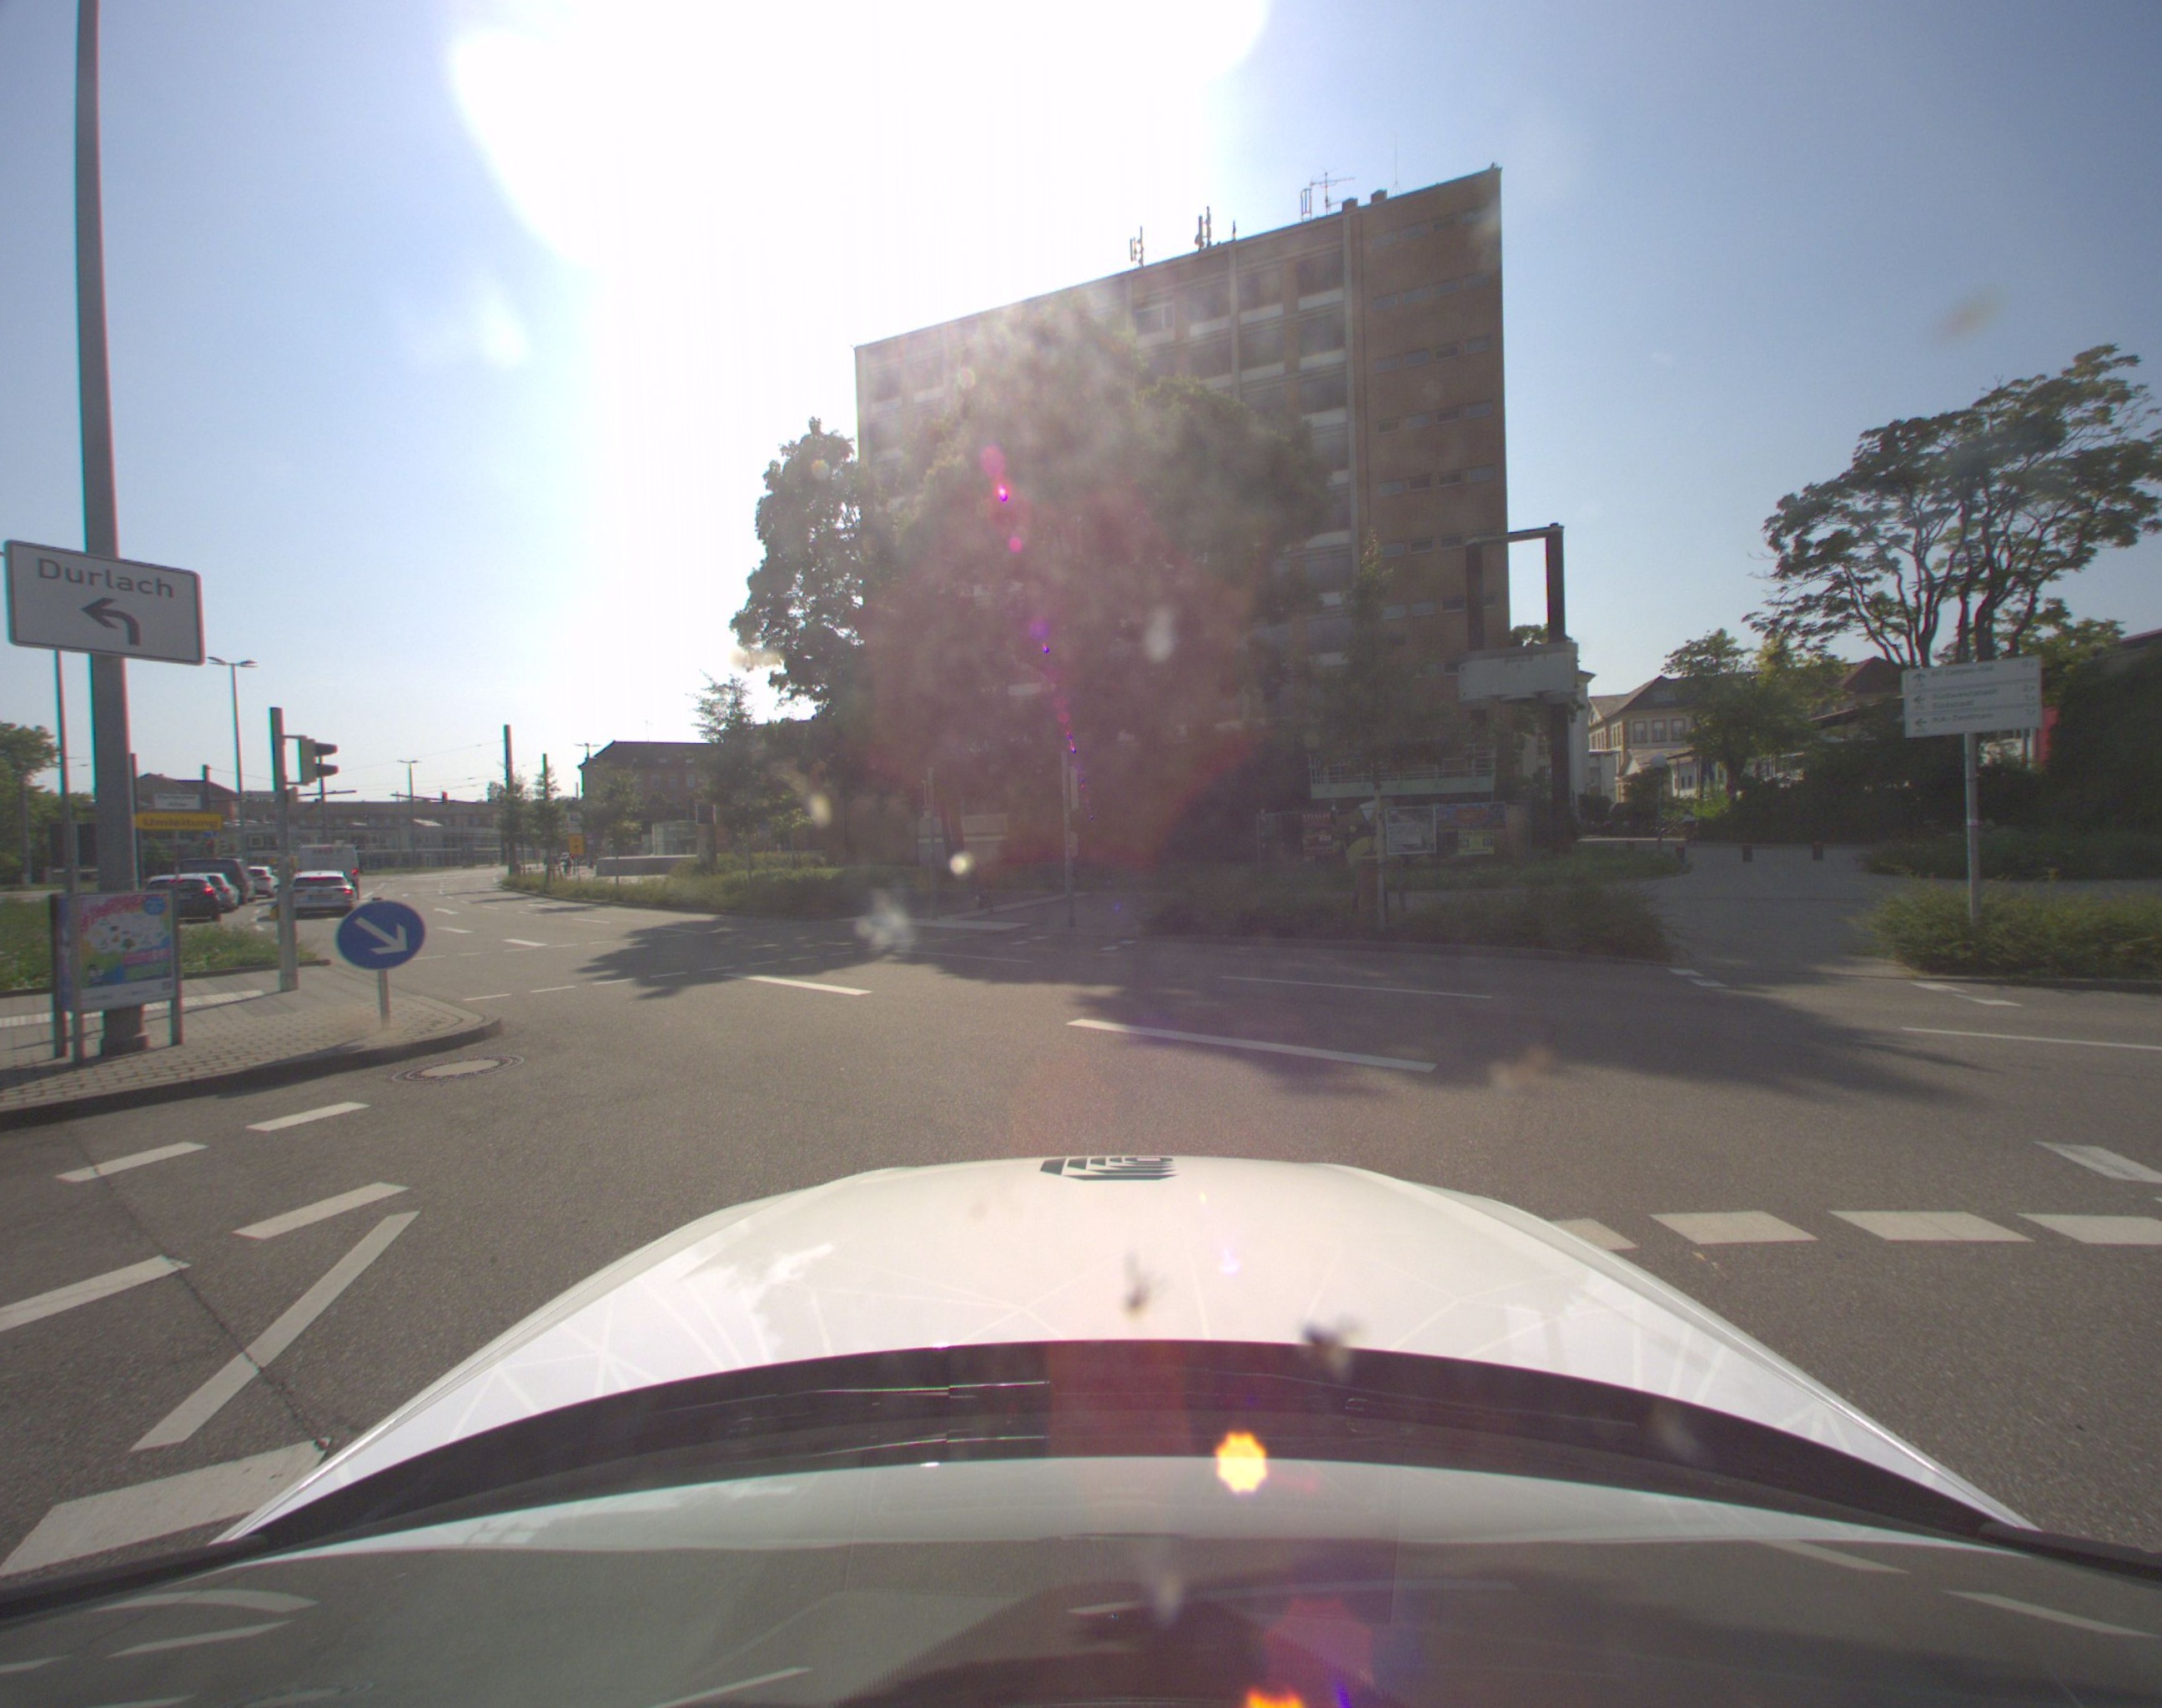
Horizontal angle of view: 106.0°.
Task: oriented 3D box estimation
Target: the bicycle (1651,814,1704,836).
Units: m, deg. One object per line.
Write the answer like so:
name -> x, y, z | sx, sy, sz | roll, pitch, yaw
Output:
bicycle -> 35.120, -1.704, 47.958 | 2.404, 1.318, 0.724 | 1, 2, 26

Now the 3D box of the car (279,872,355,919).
car -> -25.118, 1.325, 26.788 | 1.700, 1.387, 3.589 | -2, 0, -43

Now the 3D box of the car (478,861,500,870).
car -> -104.007, 2.008, 143.120 | 2.000, 1.442, 3.974 | -2, 1, -20

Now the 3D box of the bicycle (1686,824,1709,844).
bicycle -> 28.552, -0.949, 37.732 | 0.667, 0.879, 1.410 | -1, 1, 29

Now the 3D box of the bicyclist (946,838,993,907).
bicyclist -> -2.731, 0.434, 19.952 | 0.776, 1.578, 0.982 | -6, 4, -25

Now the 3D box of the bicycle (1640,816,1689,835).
bicycle -> 36.739, -1.797, 51.285 | 2.404, 1.223, 0.724 | 1, 2, 26

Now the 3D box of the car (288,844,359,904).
car -> -35.311, 0.922, 38.060 | 2.208, 2.549, 4.627 | -2, 0, -41

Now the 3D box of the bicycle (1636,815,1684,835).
bicycle -> 37.279, -1.858, 52.448 | 2.404, 1.223, 0.724 | 1, 2, 26

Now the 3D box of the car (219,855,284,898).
car -> -41.505, 1.106, 40.825 | 2.042, 2.008, 4.626 | -2, 0, -43

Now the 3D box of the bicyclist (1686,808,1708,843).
bicyclist -> 28.577, -1.327, 37.792 | 0.644, 1.601, 0.925 | -2, 1, 29

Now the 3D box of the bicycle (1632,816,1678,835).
bicycle -> 38.122, -1.915, 54.118 | 2.404, 1.234, 0.724 | 1, 2, 26

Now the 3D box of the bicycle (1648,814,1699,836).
bicycle -> 35.605, -1.736, 48.993 | 2.404, 1.318, 0.724 | 1, 2, 26

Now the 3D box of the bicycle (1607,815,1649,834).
bicycle -> 39.409, -2.120, 58.697 | 2.404, 1.281, 0.724 | 1, 2, 26

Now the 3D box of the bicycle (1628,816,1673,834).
bicycle -> 38.422, -1.951, 55.012 | 2.404, 1.239, 0.724 | 1, 2, 26

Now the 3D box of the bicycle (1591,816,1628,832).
bicycle -> 42.203, -2.395, 65.076 | 2.404, 1.262, 0.724 | 1, 2, 26

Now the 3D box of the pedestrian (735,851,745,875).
pedestrian -> -23.911, 0.631, 57.106 | 0.617, 1.638, 0.530 | -2, 1, -24

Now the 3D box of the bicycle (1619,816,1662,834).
bicycle -> 39.427, -2.030, 57.461 | 2.404, 1.281, 0.724 | 1, 2, 26

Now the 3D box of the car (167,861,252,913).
car -> -36.946, 1.359, 34.633 | 2.041, 2.008, 4.627 | -2, 0, -42

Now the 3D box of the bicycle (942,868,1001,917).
bicycle -> -2.723, 0.906, 20.059 | 0.776, 0.975, 2.132 | -6, 4, -25

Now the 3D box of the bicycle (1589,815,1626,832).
bicycle -> 42.610, -2.465, 65.950 | 2.404, 1.280, 0.724 | 1, 2, 26

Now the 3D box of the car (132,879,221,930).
car -> -27.686, 1.497, 25.020 | 3.913, 1.368, 1.717 | -2, 0, 43

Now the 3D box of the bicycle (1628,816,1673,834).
bicycle -> 39.047, -1.972, 55.885 | 2.404, 1.228, 0.724 | 1, 2, 26
